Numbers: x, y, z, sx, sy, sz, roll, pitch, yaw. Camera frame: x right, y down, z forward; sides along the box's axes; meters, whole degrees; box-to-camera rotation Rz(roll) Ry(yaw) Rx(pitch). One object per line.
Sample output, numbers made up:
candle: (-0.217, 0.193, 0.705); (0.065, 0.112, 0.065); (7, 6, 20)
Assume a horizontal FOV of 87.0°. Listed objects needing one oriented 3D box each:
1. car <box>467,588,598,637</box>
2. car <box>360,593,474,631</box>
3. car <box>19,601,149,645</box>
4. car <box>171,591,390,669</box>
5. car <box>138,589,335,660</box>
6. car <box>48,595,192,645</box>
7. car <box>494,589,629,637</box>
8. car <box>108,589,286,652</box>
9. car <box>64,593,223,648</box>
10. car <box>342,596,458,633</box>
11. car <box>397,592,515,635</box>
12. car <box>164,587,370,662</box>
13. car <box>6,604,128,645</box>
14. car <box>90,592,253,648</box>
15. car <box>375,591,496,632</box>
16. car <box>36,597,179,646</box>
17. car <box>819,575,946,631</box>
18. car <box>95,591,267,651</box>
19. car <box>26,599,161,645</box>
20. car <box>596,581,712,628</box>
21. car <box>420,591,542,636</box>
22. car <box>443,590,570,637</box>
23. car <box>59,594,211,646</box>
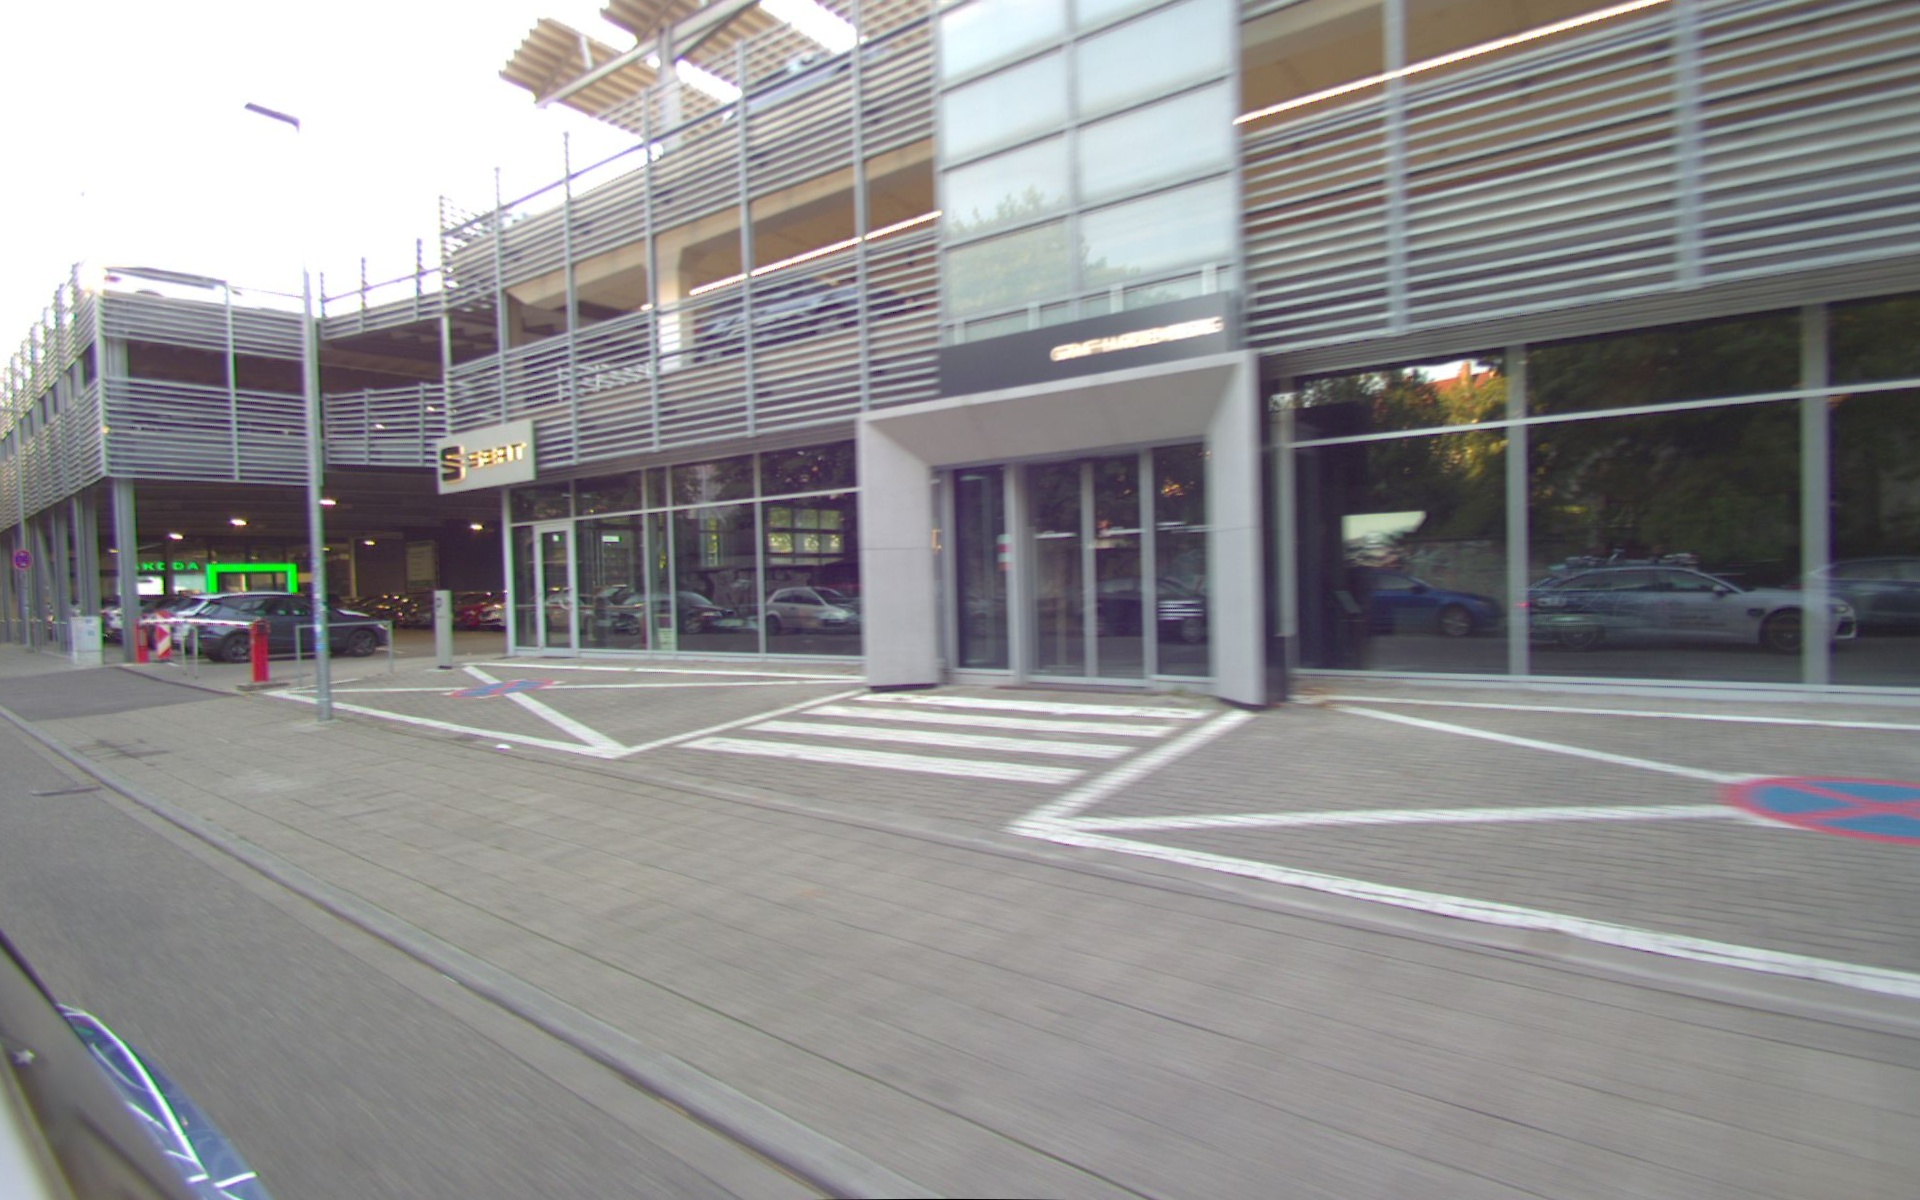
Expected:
car: (-15.700, 0.432, 37.283); (1.860, 1.591, 4.024); (-2, 0, 42)
car: (-23.837, 0.498, 44.524); (1.860, 1.466, 4.031); (-2, 0, 42)
car: (-37.534, 0.963, 43.411); (1.860, 1.696, 3.992); (-2, 0, 42)
car: (-16.125, 0.639, 24.168); (1.858, 1.597, 3.948); (1, 2, 39)
car: (-19.732, 0.642, 27.721); (1.860, 1.696, 4.044); (-2, 0, 42)
car: (-32.043, 0.733, 38.691); (1.860, 1.696, 3.983); (-2, 0, 42)
car: (-14.051, 0.442, 35.813); (1.860, 1.506, 4.008); (-2, 0, 42)
car: (-23.141, 0.601, 30.792); (1.860, 1.696, 4.021); (-2, 0, 42)
car: (-28.547, 0.681, 35.455); (1.860, 1.696, 4.059); (-2, 0, 42)
car: (-25.711, 0.648, 46.588); (1.860, 1.499, 4.290); (-2, 0, 42)
car: (-20.810, 0.557, 41.879); (1.860, 1.570, 3.944); (-2, 0, 42)
car: (-17.848, 0.602, 26.187); (1.860, 1.696, 4.036); (-2, 0, 42)
car: (-41.052, 1.109, 46.565); (1.860, 1.696, 4.000); (-2, 0, 42)
car: (-26.537, 0.649, 34.138); (1.860, 1.696, 4.059); (-2, 0, 42)
car: (-22.339, 0.466, 43.206); (1.860, 1.531, 4.161); (-2, 0, 42)
car: (-33.717, 0.834, 40.111); (1.860, 1.696, 4.105); (-2, 0, 42)
car: (-2.346, 0.055, 31.501); (1.784, 1.484, 3.793); (-5, -1, 37)
car: (-24.808, 0.637, 32.328); (1.860, 1.696, 4.059); (-2, 0, 42)
car: (-35.597, 0.882, 41.620); (1.860, 1.696, 3.992); (-2, 0, 42)
car: (-12.369, 0.156, 41.037); (1.860, 1.696, 4.104); (-2, 0, 42)
car: (-19.101, 0.518, 40.460); (1.860, 1.570, 3.944); (-2, 0, 42)
car: (-17.379, 0.489, 38.913); (1.860, 1.608, 3.992); (-2, 0, 42)
car: (-30.126, 0.697, 37.038); (1.860, 1.696, 4.040); (-2, 0, 42)
